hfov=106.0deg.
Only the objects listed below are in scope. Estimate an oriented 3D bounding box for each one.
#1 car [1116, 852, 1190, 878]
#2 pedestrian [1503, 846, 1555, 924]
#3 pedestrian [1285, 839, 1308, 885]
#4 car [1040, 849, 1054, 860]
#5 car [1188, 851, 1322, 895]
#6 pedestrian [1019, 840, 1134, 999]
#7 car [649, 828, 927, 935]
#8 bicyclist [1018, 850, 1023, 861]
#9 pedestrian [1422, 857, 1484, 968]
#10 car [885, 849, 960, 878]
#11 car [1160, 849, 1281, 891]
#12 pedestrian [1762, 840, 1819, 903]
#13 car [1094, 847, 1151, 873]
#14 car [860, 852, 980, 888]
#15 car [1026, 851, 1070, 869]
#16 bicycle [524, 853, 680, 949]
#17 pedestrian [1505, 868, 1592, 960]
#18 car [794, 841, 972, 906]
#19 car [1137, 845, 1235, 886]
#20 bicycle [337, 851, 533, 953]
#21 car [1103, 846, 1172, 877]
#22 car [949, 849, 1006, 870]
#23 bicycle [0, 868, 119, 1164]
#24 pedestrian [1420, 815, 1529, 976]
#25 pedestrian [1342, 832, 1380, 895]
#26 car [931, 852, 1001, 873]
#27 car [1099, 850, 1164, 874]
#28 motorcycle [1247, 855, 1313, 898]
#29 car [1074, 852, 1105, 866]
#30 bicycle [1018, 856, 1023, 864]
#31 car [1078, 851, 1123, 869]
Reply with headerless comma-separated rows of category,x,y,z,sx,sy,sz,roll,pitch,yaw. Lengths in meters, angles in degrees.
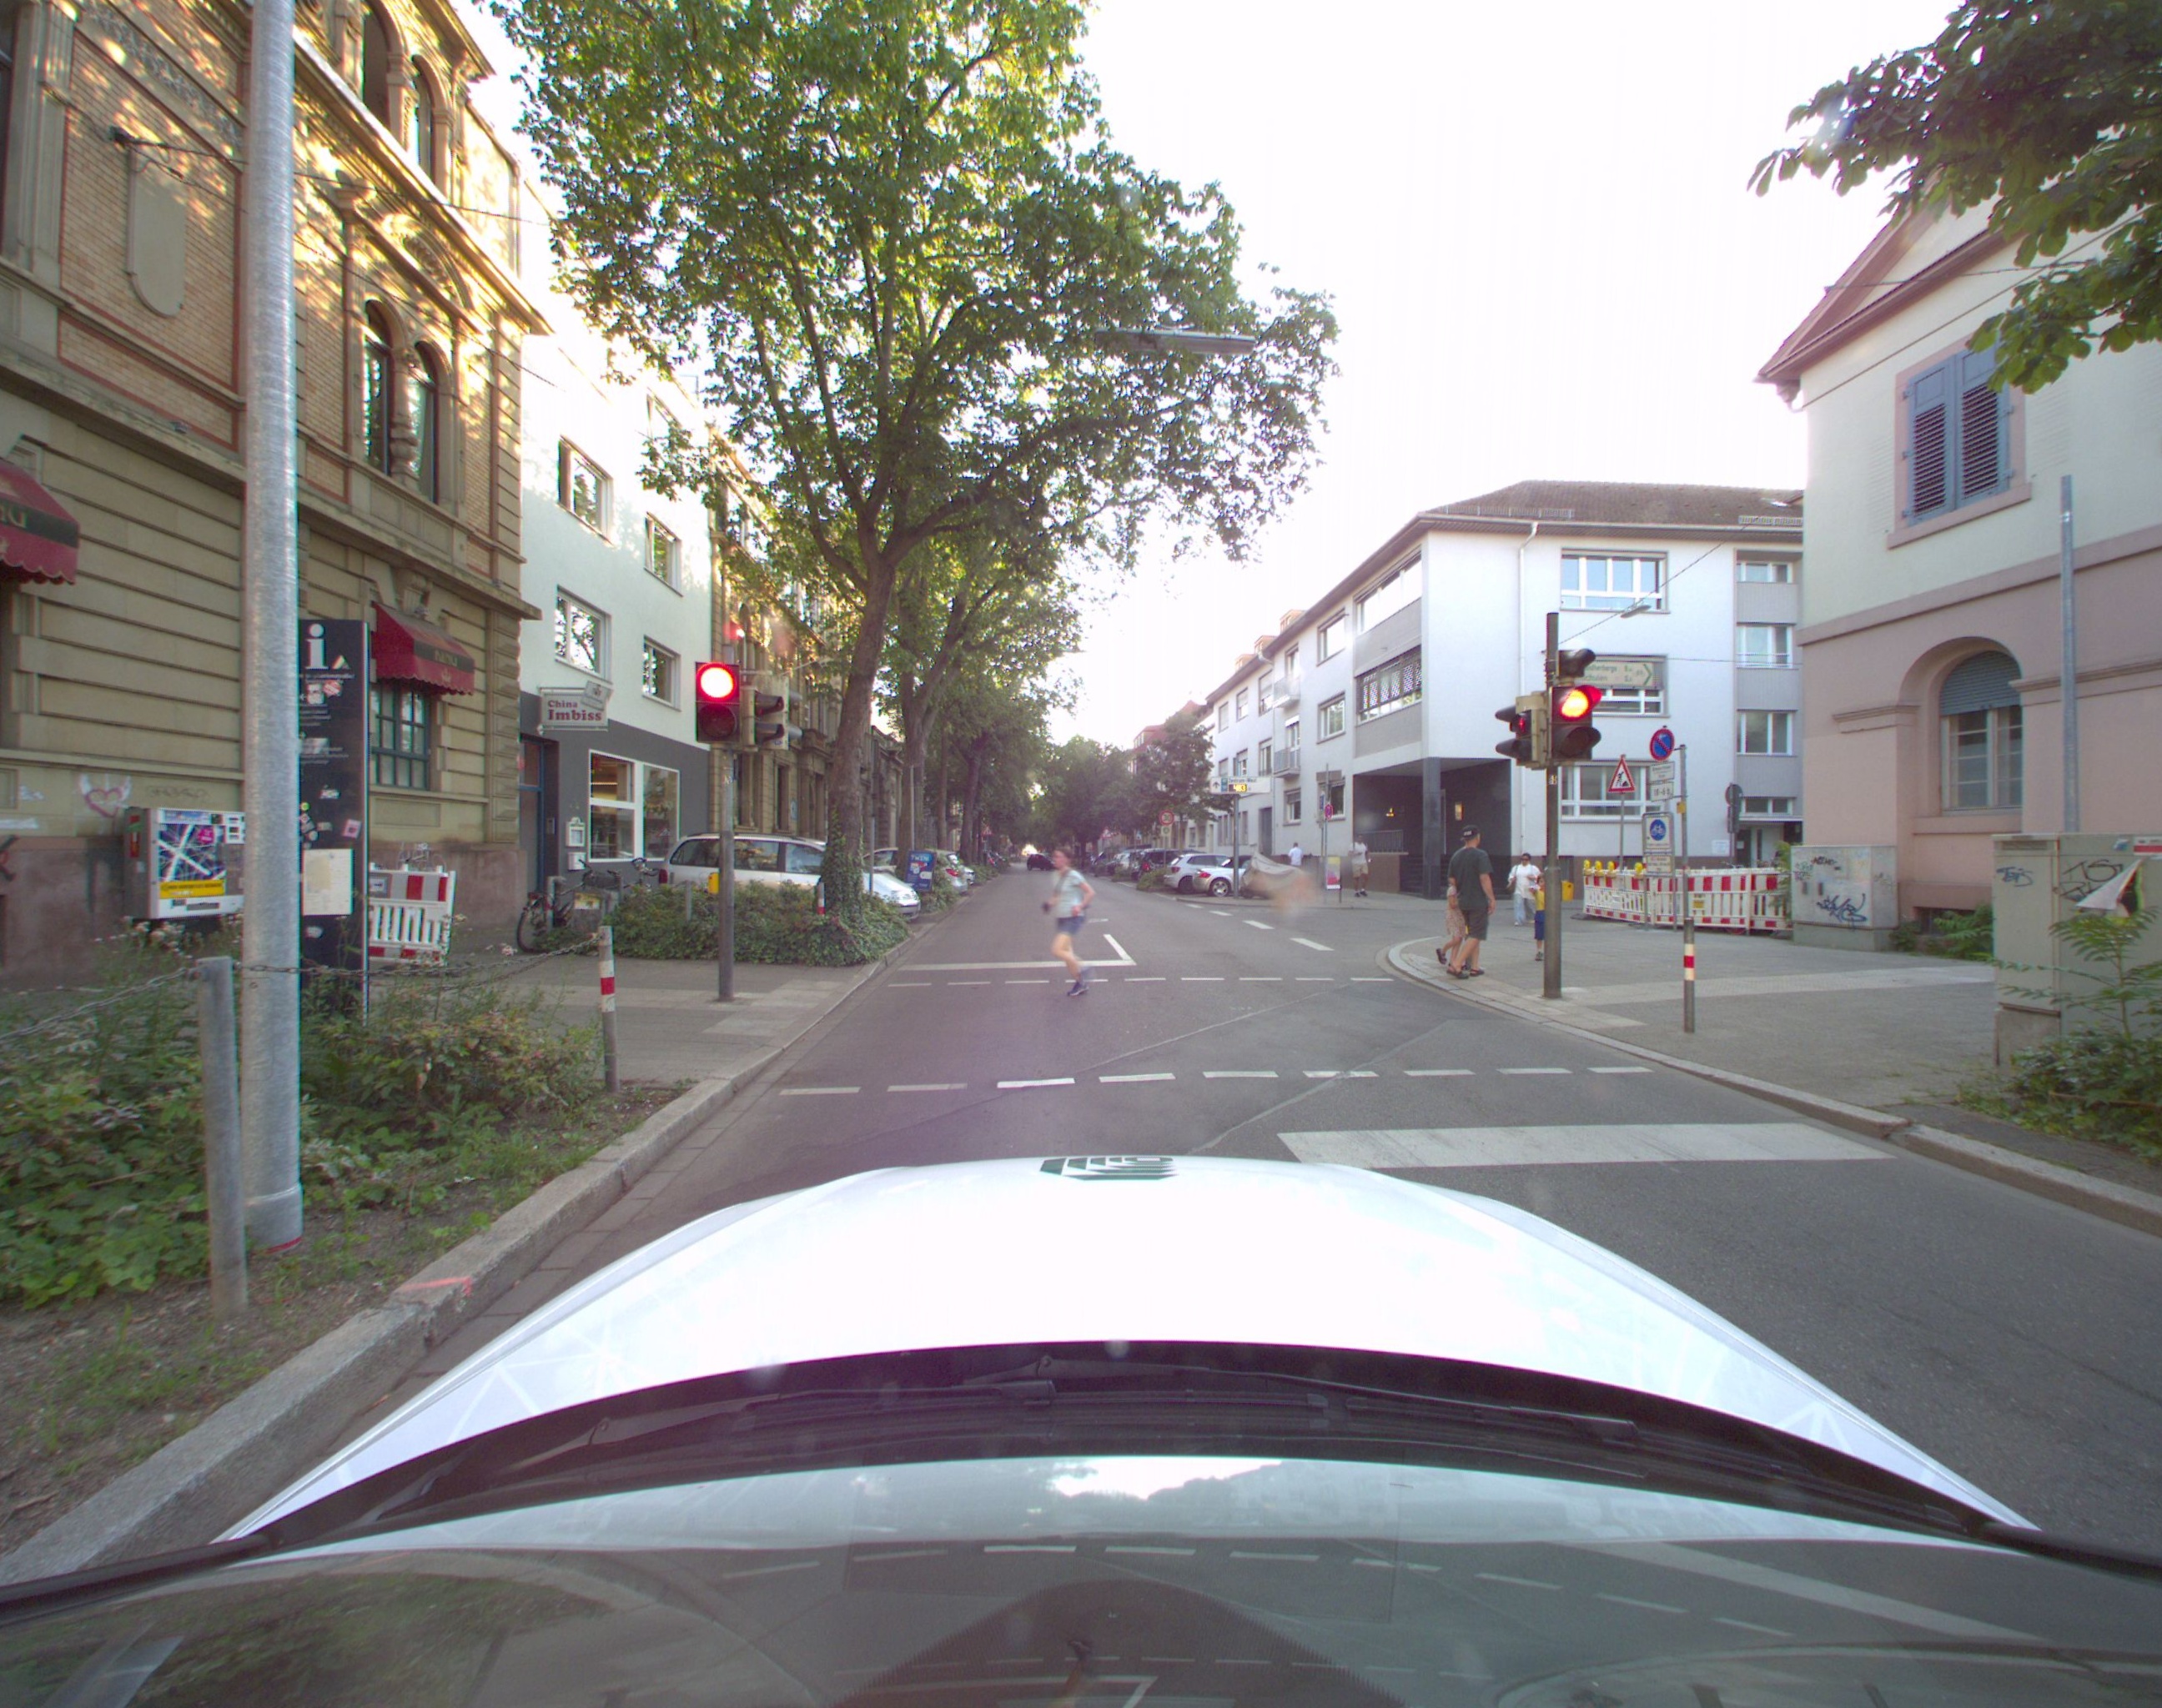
car,4.121,0.609,46.968,4.006,1.409,1.704,-1,0,-4
pedestrian,9.016,0.598,16.394,0.766,1.500,0.807,1,1,40
pedestrian,8.299,0.319,31.403,0.701,1.752,0.699,0,0,0
car,-4.926,0.023,117.731,1.822,1.561,4.021,1,0,-5
car,5.648,0.593,26.732,4.006,1.342,1.705,-1,0,-4
pedestrian,-0.046,0.636,8.557,0.985,1.557,0.693,0,0,-39
car,-5.245,0.459,15.151,4.543,1.835,1.829,0,0,-7
bicyclist,-7.942,0.201,106.717,0.571,1.470,0.641,1,-1,-10
pedestrian,4.632,0.715,10.158,0.537,1.335,0.506,0,0,1
car,-9.116,0.532,47.027,4.030,1.590,1.831,0,0,-4
car,4.972,0.559,29.328,4.006,1.442,1.704,-1,0,-4
pedestrian,20.054,0.474,23.041,0.767,1.752,0.932,0,0,-3
car,2.993,0.414,59.345,4.006,1.830,1.704,0,0,-4
car,-6.432,0.614,32.927,4.538,1.372,1.831,0,0,-4
car,-2.973,0.543,72.744,1.920,1.578,3.944,1,0,-42
bicycle,-6.678,0.591,11.565,0.732,1.186,2.632,1,0,-3
pedestrian,6.121,0.762,10.692,0.566,1.121,0.833,-1,1,-13
car,-5.404,0.517,22.699,4.538,1.689,1.831,0,0,-4
car,4.569,0.483,35.712,4.006,1.690,1.704,-1,0,-4
bicycle,-8.475,0.560,10.876,0.635,1.202,2.562,0,0,-2
car,3.391,0.436,49.221,4.006,1.815,1.704,-1,0,-4
car,-8.535,0.446,67.657,4.538,1.691,1.831,0,0,-4
bicycle,-4.489,0.654,2.560,0.509,1.153,2.098,2,0,-4
pedestrian,4.640,0.469,9.656,0.886,1.815,0.793,0,0,-4
pedestrian,8.329,0.272,24.243,0.765,1.841,0.942,0,0,-3
car,-7.803,0.577,55.371,4.538,1.410,1.831,0,0,-4
car,3.206,0.504,52.102,4.006,1.530,1.704,0,0,-4
motorcycle,5.749,0.642,23.567,1.791,1.199,0.614,-1,0,5
car,1.068,0.686,106.955,4.006,1.830,1.704,0,0,-4
bicycle,-7.944,0.790,106.695,0.571,0.949,1.738,1,-1,-9
car,1.755,0.506,74.267,4.006,1.602,1.704,0,0,-4
